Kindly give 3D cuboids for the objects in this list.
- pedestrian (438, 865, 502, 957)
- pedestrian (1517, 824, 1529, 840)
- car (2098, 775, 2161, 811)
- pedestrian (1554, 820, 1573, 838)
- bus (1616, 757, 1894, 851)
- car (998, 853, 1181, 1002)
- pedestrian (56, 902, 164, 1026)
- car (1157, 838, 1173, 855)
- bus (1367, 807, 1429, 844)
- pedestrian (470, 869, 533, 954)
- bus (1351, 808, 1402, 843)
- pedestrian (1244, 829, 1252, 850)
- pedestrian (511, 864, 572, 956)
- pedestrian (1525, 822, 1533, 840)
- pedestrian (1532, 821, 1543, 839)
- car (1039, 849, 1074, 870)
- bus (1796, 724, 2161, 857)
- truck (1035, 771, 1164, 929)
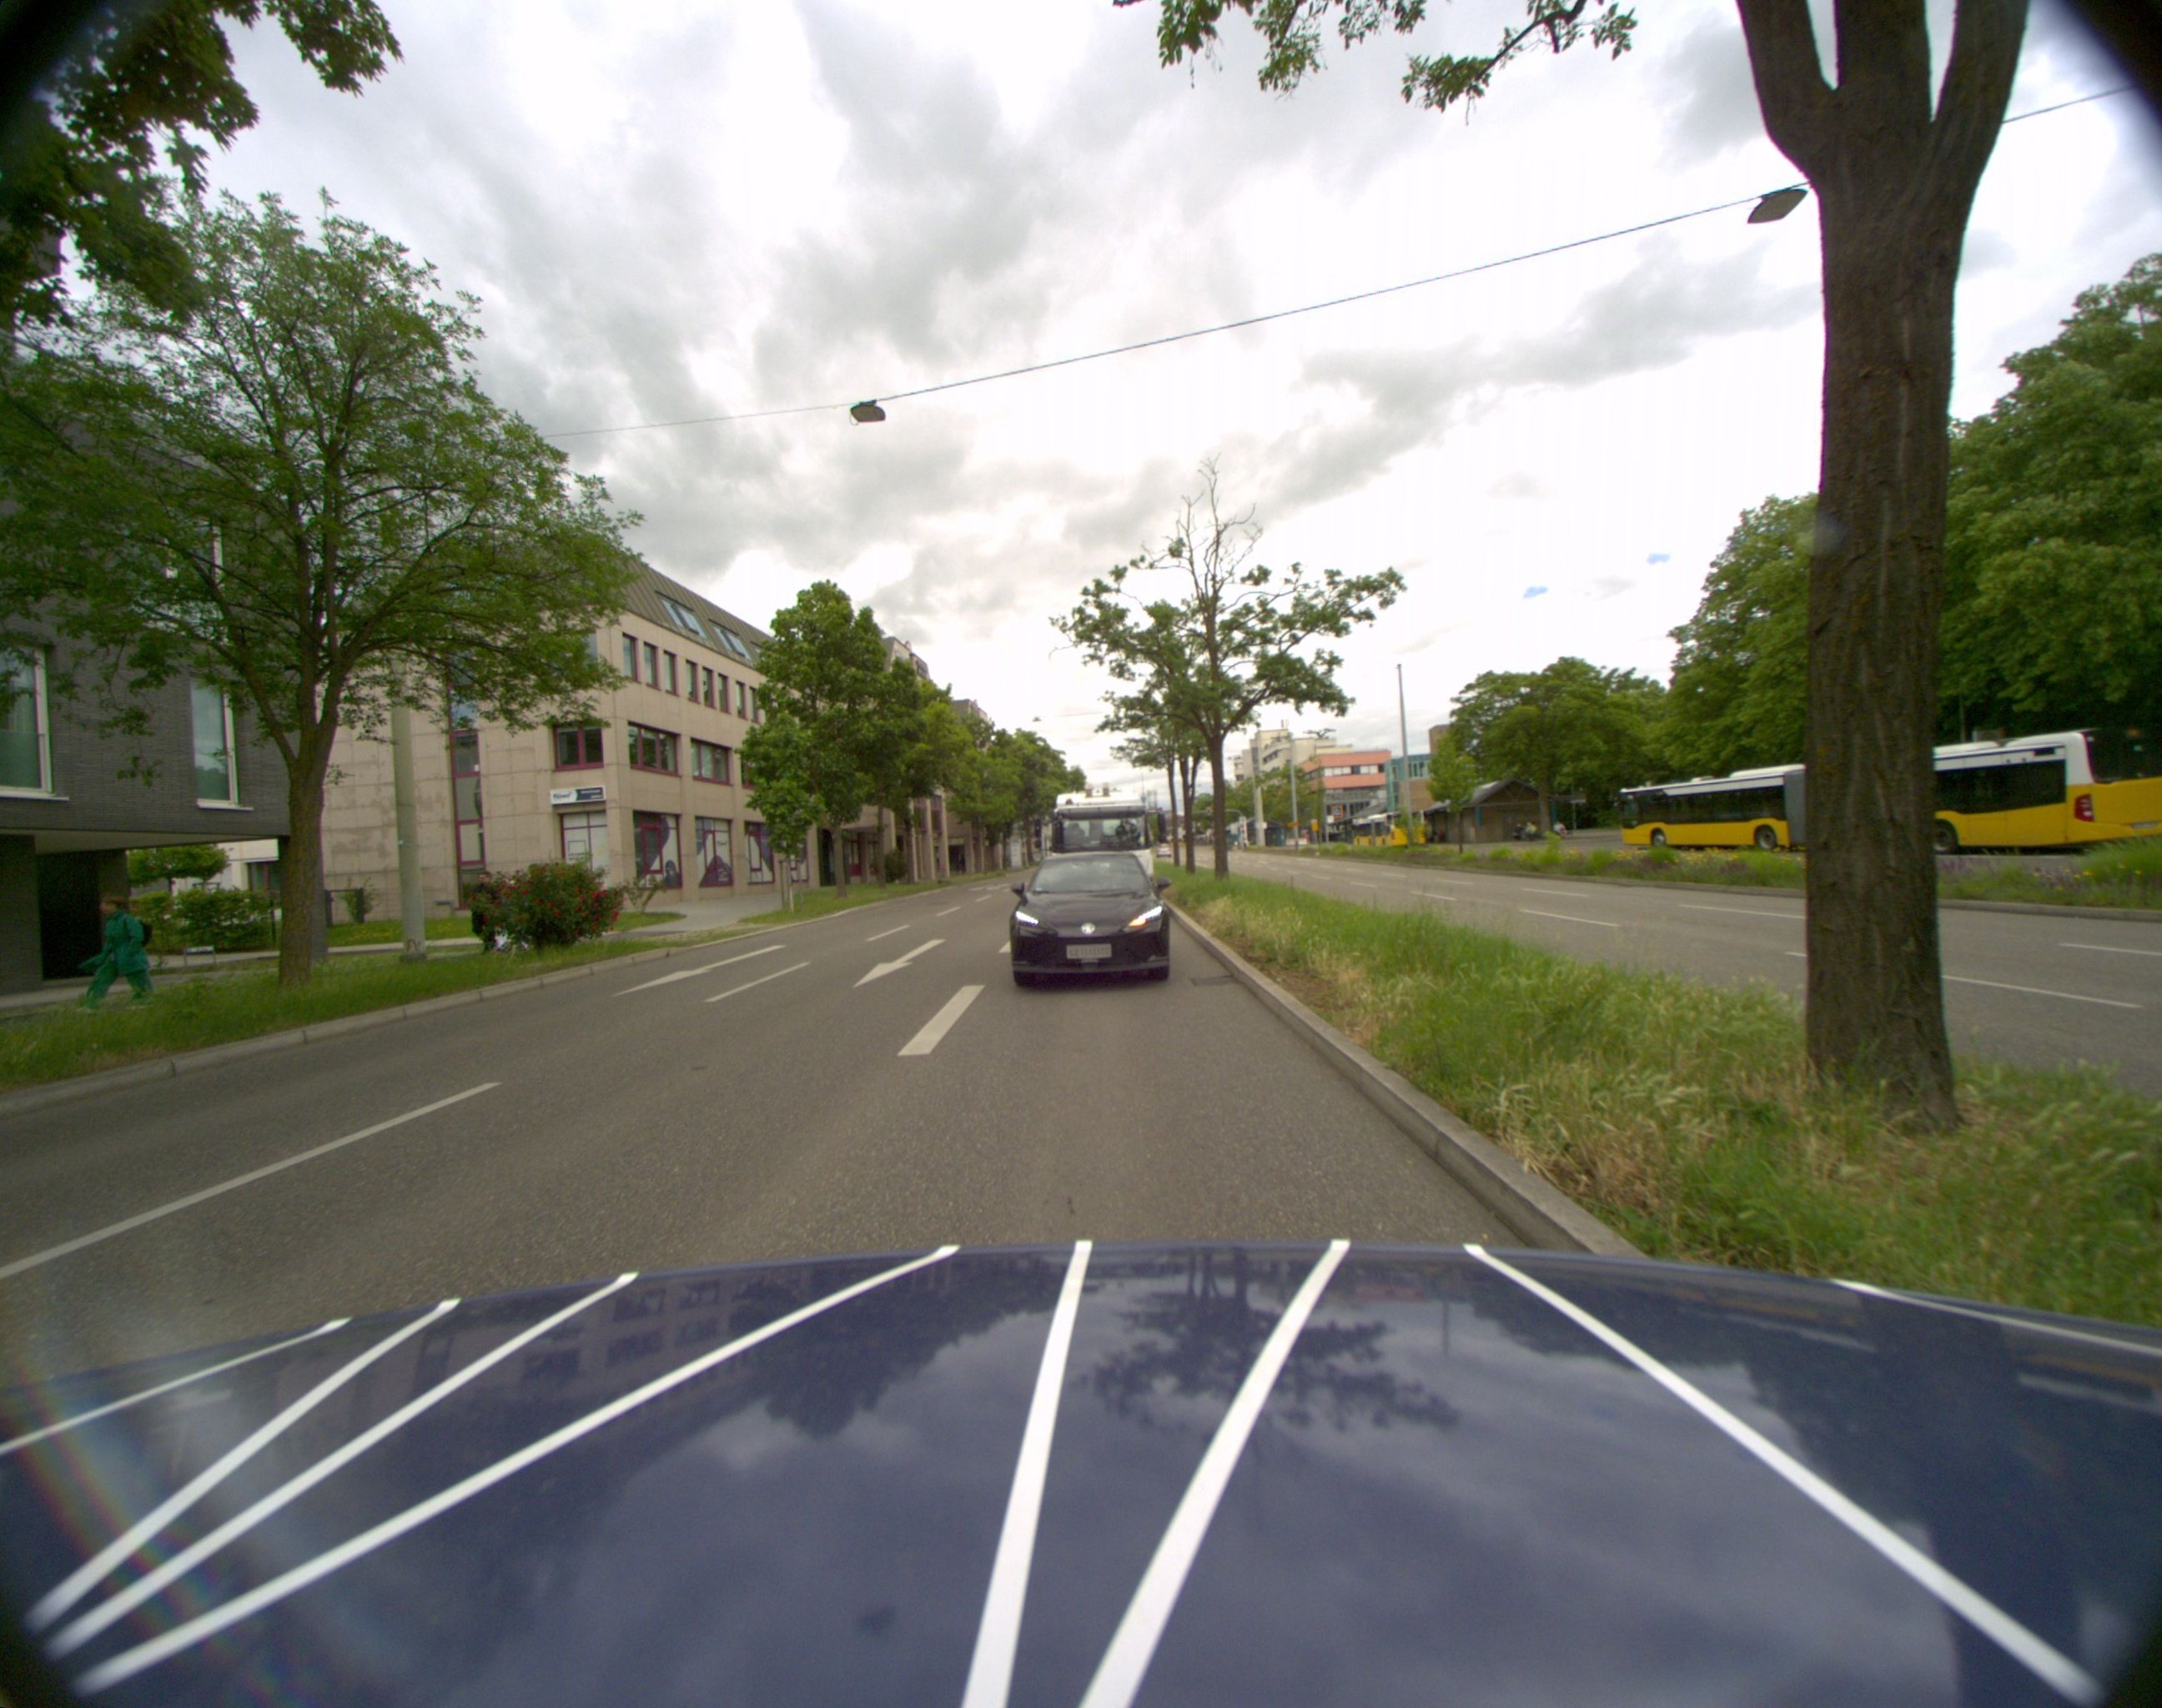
[{"bbox_3d":[-12.541,1.147,15.605,0.642,1.795,0.677,-3,1,1],"label":"pedestrian"},{"bbox_3d":[31.574,-1.567,54.262,0.598,1.155,0.743,-2,2,23],"label":"pedestrian"},{"bbox_3d":[55.906,-3.231,39.387,1.688,1.740,4.003,-3,1,15],"label":"car"},{"bbox_3d":[32.677,-1.665,51.453,0.650,1.165,0.925,-3,1,1],"label":"pedestrian"},{"bbox_3d":[26.284,-1.743,30.723,2.888,2.985,10.396,-3,1,6],"label":"bus"},{"bbox_3d":[0.140,0.770,9.942,1.827,1.430,4.000,-3,1,1],"label":"car"},{"bbox_3d":[-12.563,1.398,9.851,0.496,1.510,0.677,0,1,1],"label":"pedestrian"},{"bbox_3d":[10.649,-0.993,96.228,1.726,2.002,4.000,-3,1,4],"label":"car"},{"bbox_3d":[26.815,-2.340,64.791,2.887,2.793,9.181,-3,1,10],"label":"bus"},{"bbox_3d":[-11.821,1.158,15.508,0.642,1.637,0.677,-3,1,1],"label":"pedestrian"},{"bbox_3d":[28.422,-2.633,73.434,2.887,2.985,9.181,-3,1,11],"label":"bus"},{"bbox_3d":[22.849,-2.032,103.879,0.903,2.772,1.148,-2,2,14],"label":"pedestrian"},{"bbox_3d":[-11.021,1.118,15.543,0.642,1.795,0.677,-3,1,1],"label":"pedestrian"},{"bbox_3d":[30.848,-1.594,52.349,0.367,1.160,0.899,-2,2,27],"label":"pedestrian"},{"bbox_3d":[31.288,-1.651,52.078,0.598,1.155,0.744,-2,2,27],"label":"pedestrian"},{"bbox_3d":[-1.890,0.386,59.648,1.997,1.455,4.002,-3,0,8],"label":"car"},{"bbox_3d":[25.289,-1.567,21.691,2.888,2.985,7.885,-3,1,6],"label":"bus"},{"bbox_3d":[0.478,-0.117,19.655,2.544,3.187,7.368,-3,1,2],"label":"truck"}]
